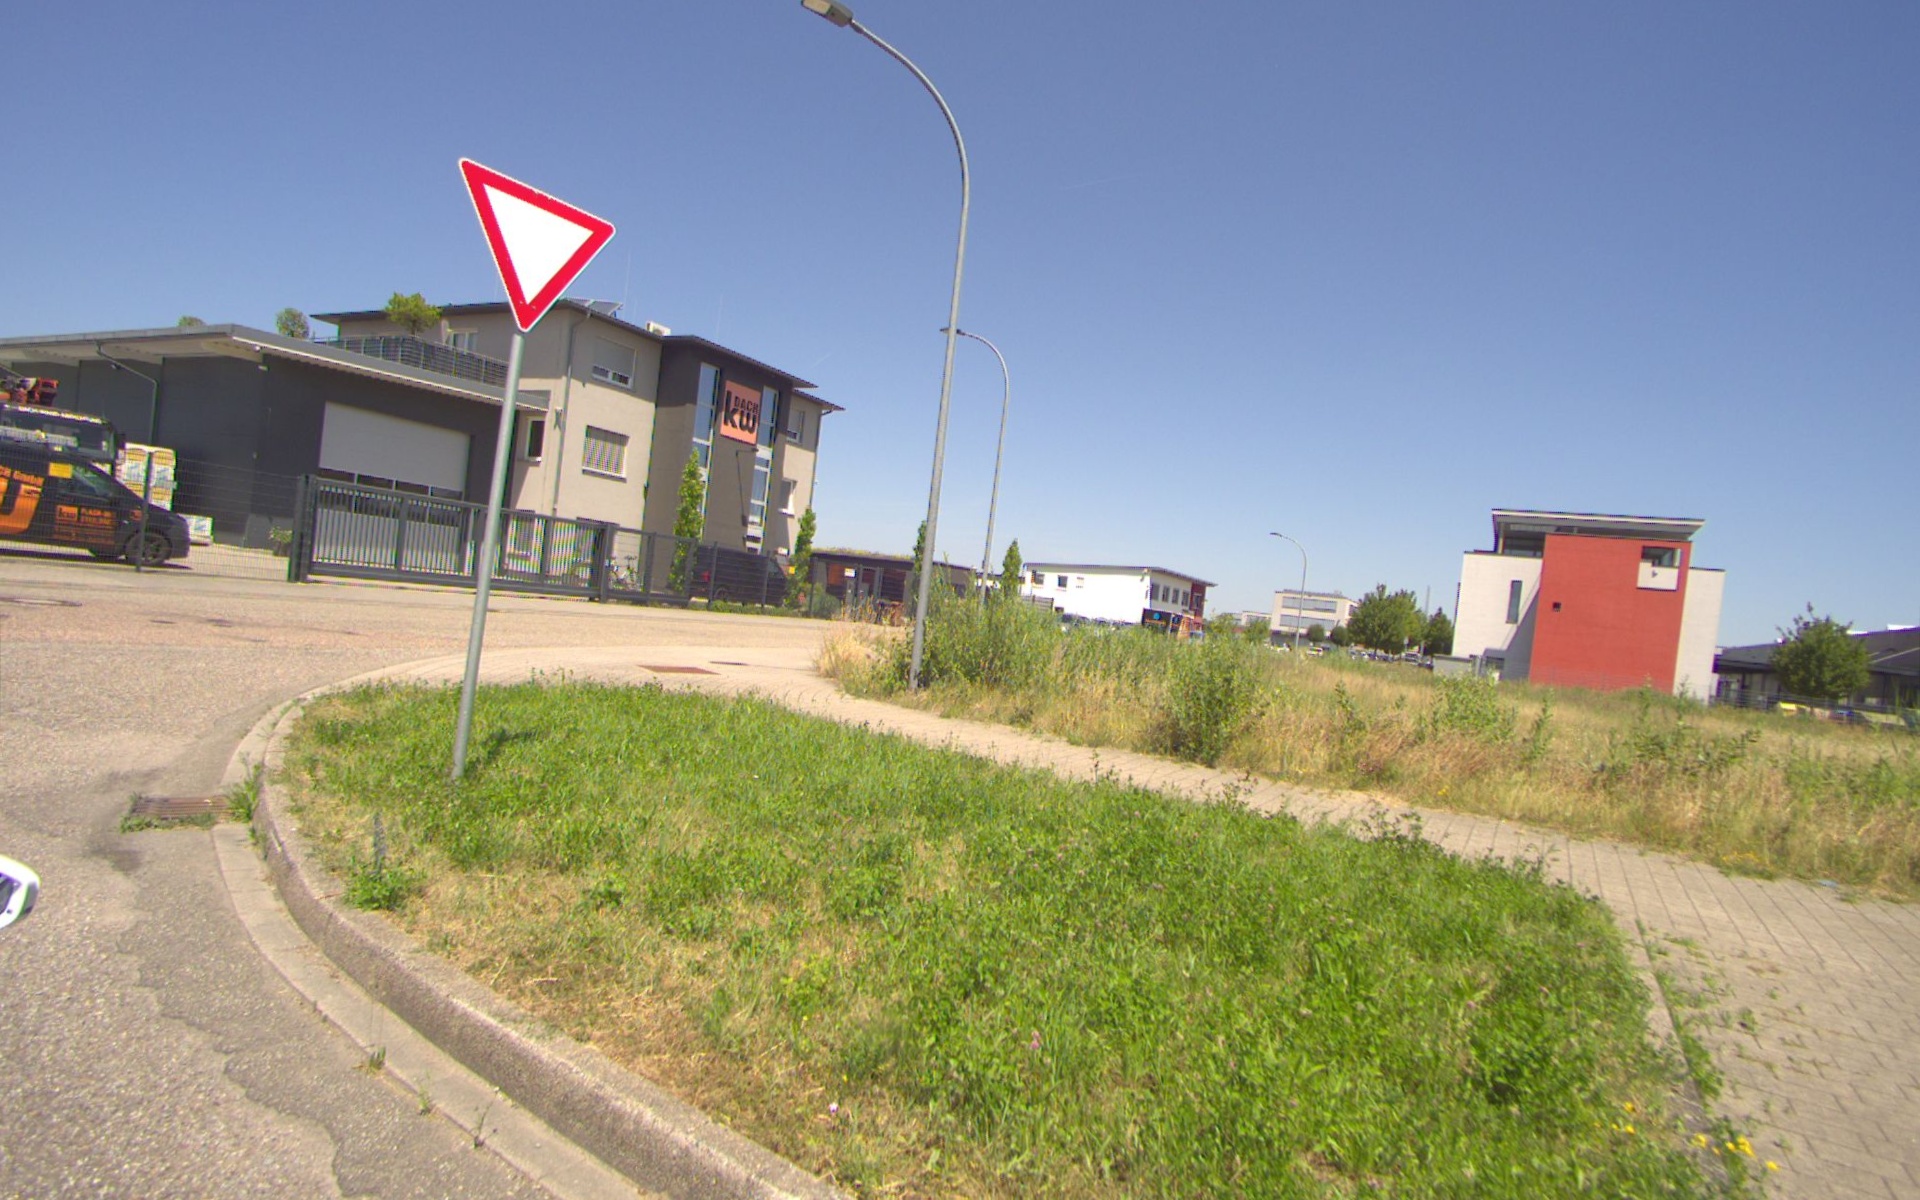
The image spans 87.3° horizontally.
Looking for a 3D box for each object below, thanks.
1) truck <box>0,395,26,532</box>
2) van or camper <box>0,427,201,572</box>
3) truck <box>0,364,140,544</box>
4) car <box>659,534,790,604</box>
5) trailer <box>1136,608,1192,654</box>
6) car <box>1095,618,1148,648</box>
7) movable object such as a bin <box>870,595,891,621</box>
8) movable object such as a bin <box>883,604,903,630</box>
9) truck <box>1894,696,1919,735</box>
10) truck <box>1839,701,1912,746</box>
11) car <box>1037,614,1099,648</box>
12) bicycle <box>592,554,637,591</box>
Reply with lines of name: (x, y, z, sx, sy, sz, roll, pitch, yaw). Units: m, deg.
truck: (-31.765, -4.456, 30.524, 6.817, 3.979, 2.925, 7, 1, 30)
van or camper: (-16.782, -1.897, 17.719, 1.966, 2.191, 4.944, 8, 1, 30)
truck: (-25.217, -3.888, 26.673, 6.817, 3.979, 2.925, 7, 1, 30)
car: (-7.946, -1.021, 34.281, 1.966, 1.890, 3.992, 7, 1, 30)
trailer: (13.242, 2.028, 65.190, 2.194, 2.632, 3.993, 7, 0, 29)
car: (9.247, 1.911, 57.492, 1.649, 1.401, 3.635, 9, 1, 31)
movable object such as a bin: (-2.993, 0.313, 38.066, 0.551, 0.896, 0.435, 7, 2, 31)
movable object such as a bin: (-2.595, 0.661, 38.894, 0.551, 0.896, 0.435, 7, 2, 31)
truck: (54.627, 6.620, 56.601, 1.966, 2.039, 3.992, 7, 0, 30)
truck: (52.007, 6.999, 57.242, 1.966, 2.039, 4.348, 7, 0, 30)
car: (5.513, 1.588, 51.043, 1.649, 1.401, 3.635, 9, 1, 31)
bicycle: (-12.325, -0.967, 35.920, 0.436, 1.200, 1.808, 7, 1, 16)
